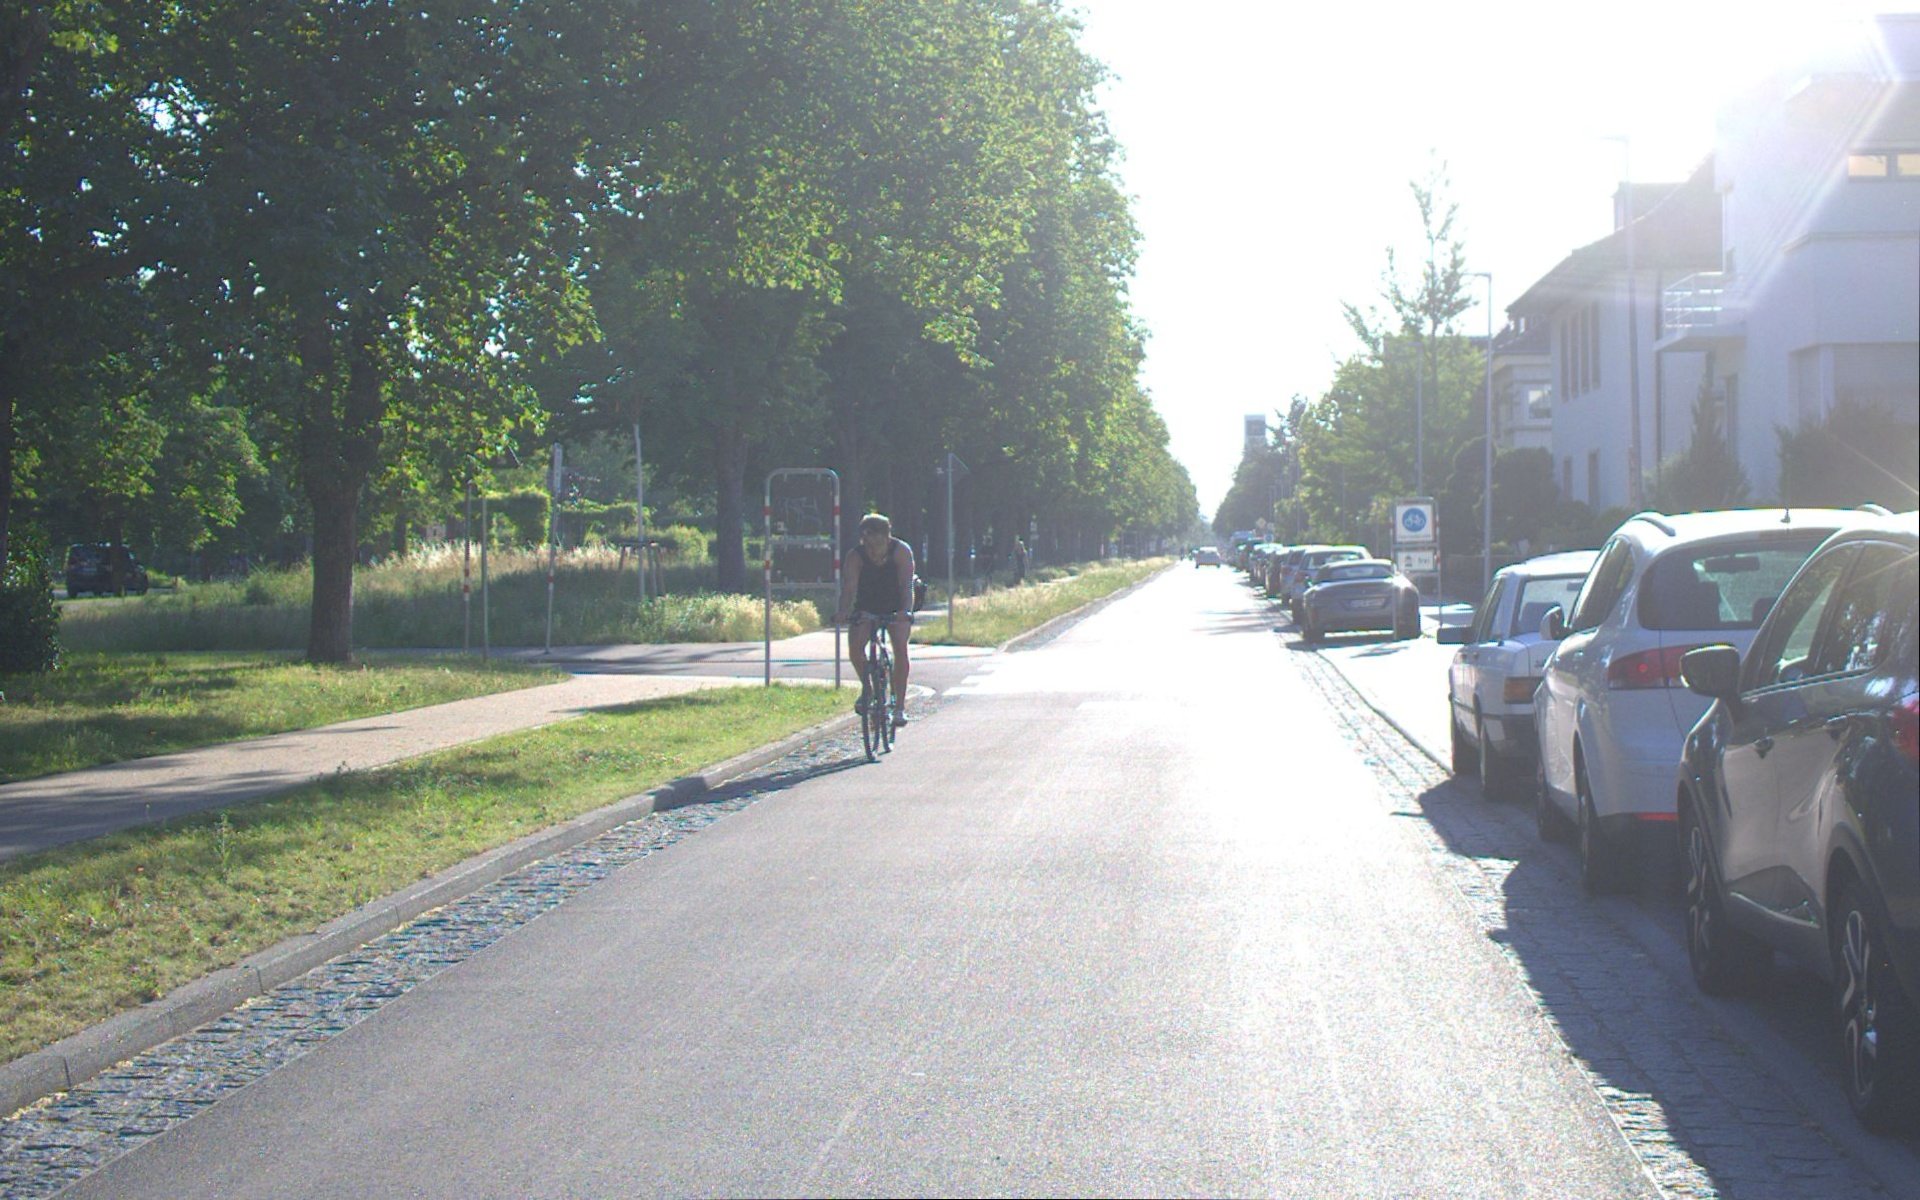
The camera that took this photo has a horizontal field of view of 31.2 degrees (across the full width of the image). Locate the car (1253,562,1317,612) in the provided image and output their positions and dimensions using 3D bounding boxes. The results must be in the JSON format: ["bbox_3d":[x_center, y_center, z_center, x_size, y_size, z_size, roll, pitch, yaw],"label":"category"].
[{"bbox_3d":[9.938,-0.416,105.205,1.737,1.444,4.197,-2,0,3],"label":"car"}]

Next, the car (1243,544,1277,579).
[{"bbox_3d":[13.702,-1.757,156.984,1.498,1.561,3.266,-1,1,5],"label":"car"}]

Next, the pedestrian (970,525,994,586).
[{"bbox_3d":[0.658,-1.355,103.988,0.624,1.824,0.886,0,1,8],"label":"pedestrian"}]

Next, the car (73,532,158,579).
[{"bbox_3d":[-29.065,-1.558,118.416,1.692,1.592,4.221,0,1,4],"label":"car"}]

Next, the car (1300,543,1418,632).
[{"bbox_3d":[6.671,-0.237,57.808,1.775,1.284,4.272,-3,1,5],"label":"car"}]

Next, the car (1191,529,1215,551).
[{"bbox_3d":[17.545,-4.327,248.081,1.652,1.536,3.266,1,1,4],"label":"car"}]

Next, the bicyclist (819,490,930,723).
[{"bbox_3d":[-0.621,0.046,25.427,0.681,1.667,1.172,-1,0,4],"label":"bicyclist"}]

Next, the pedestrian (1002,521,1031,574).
[{"bbox_3d":[1.720,-1.590,104.200,0.783,1.609,0.951,0,1,8],"label":"pedestrian"}]

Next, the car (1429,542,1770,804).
[{"bbox_3d":[3.787,0.365,20.952,1.564,1.385,4.374,-2,1,5],"label":"car"}]

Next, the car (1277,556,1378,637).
[{"bbox_3d":[7.358,-0.099,69.089,1.744,1.469,3.922,-3,1,3],"label":"car"}]

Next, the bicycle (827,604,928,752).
[{"bbox_3d":[-0.597,0.558,25.487,0.556,1.028,1.915,-1,0,4],"label":"bicycle"}]

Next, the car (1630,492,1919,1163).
[{"bbox_3d":[3.073,0.469,9.956,1.679,1.550,4.144,-2,1,4],"label":"car"}]

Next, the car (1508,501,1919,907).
[{"bbox_3d":[3.464,0.368,15.446,1.679,1.550,4.129,-2,1,5],"label":"car"}]

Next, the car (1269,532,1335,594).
[{"bbox_3d":[8.845,-0.969,89.081,1.628,1.499,3.632,-2,1,5],"label":"car"}]
